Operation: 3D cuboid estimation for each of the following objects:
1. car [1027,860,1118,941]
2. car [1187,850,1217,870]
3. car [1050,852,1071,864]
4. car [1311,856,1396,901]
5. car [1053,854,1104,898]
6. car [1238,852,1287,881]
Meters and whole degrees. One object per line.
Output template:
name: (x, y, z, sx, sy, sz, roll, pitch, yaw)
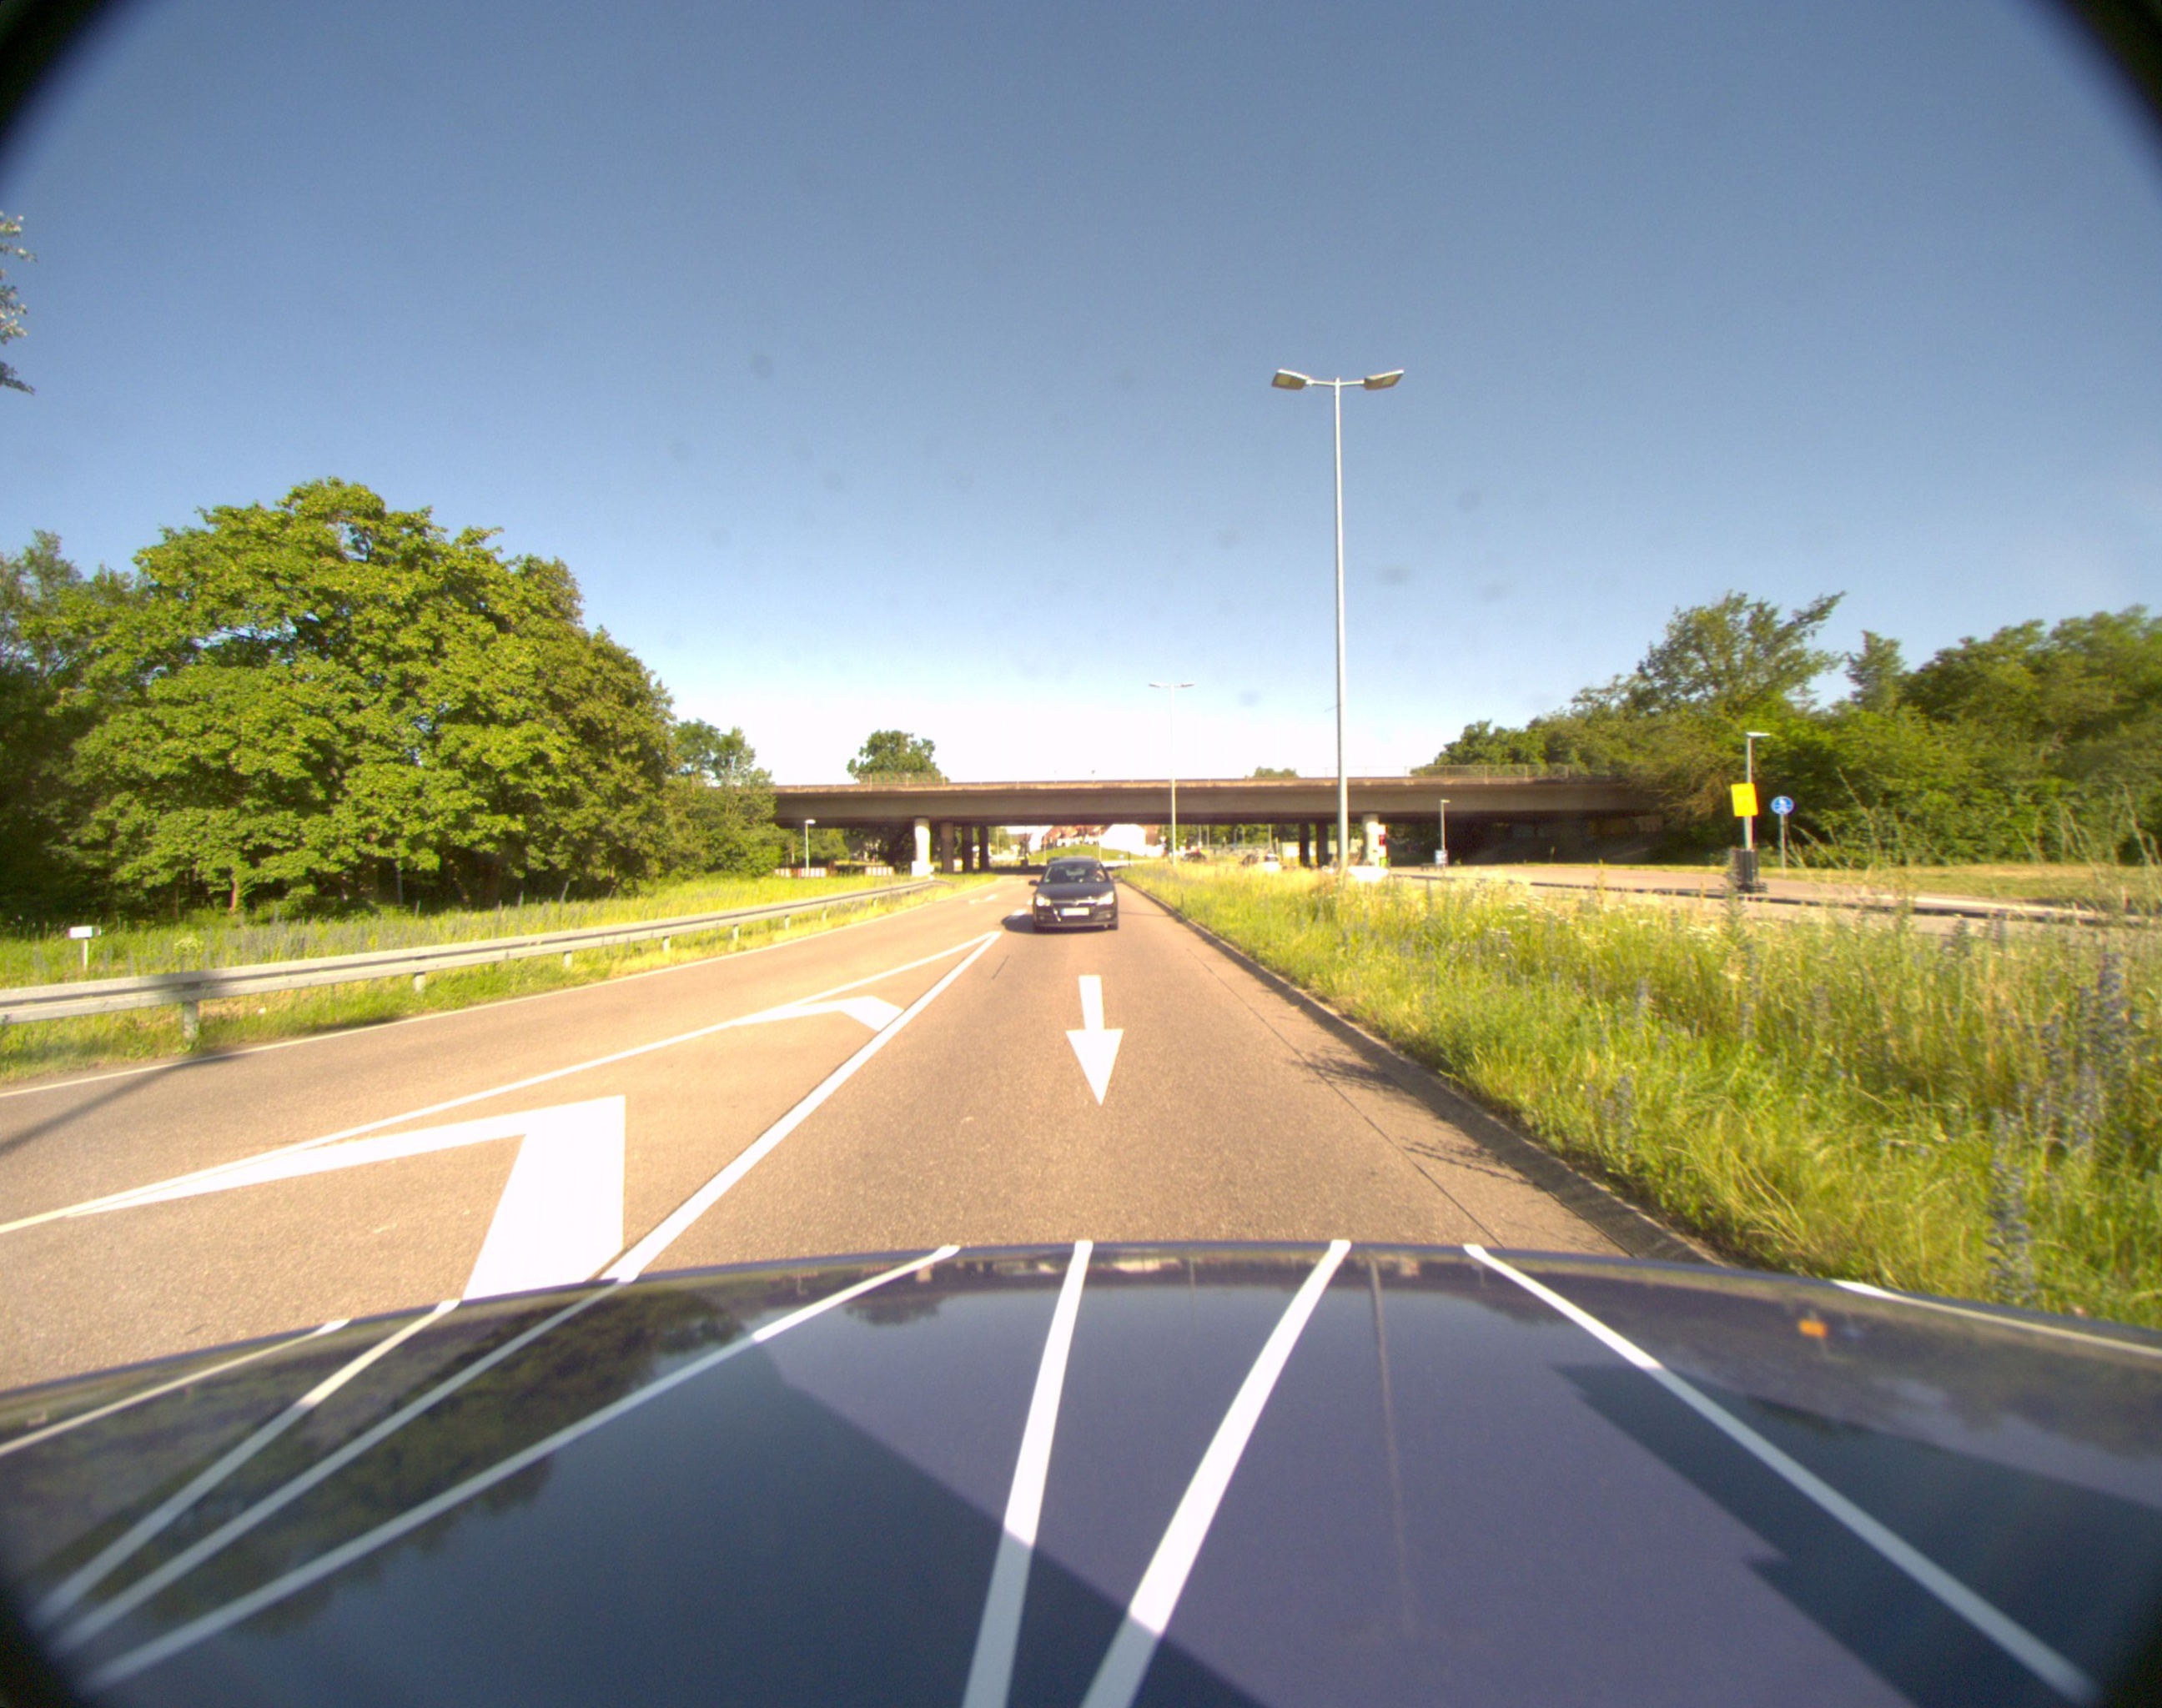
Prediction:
car: (-0.103, 0.911, 16.526, 1.706, 1.447, 3.959, -2, 0, 2)
car: (9.715, 0.488, 61.282, 1.637, 1.521, 3.592, -1, 0, -3)
car: (-2.733, 0.466, 99.955, 1.829, 1.528, 4.036, -1, 0, -16)
car: (9.774, 0.830, 27.564, 1.636, 1.436, 4.103, -1, 0, 1)
car: (-0.051, 0.798, 29.791, 1.827, 1.528, 4.042, -2, 1, 1)
car: (9.902, 0.655, 41.700, 1.637, 1.521, 3.591, -1, 0, -4)
